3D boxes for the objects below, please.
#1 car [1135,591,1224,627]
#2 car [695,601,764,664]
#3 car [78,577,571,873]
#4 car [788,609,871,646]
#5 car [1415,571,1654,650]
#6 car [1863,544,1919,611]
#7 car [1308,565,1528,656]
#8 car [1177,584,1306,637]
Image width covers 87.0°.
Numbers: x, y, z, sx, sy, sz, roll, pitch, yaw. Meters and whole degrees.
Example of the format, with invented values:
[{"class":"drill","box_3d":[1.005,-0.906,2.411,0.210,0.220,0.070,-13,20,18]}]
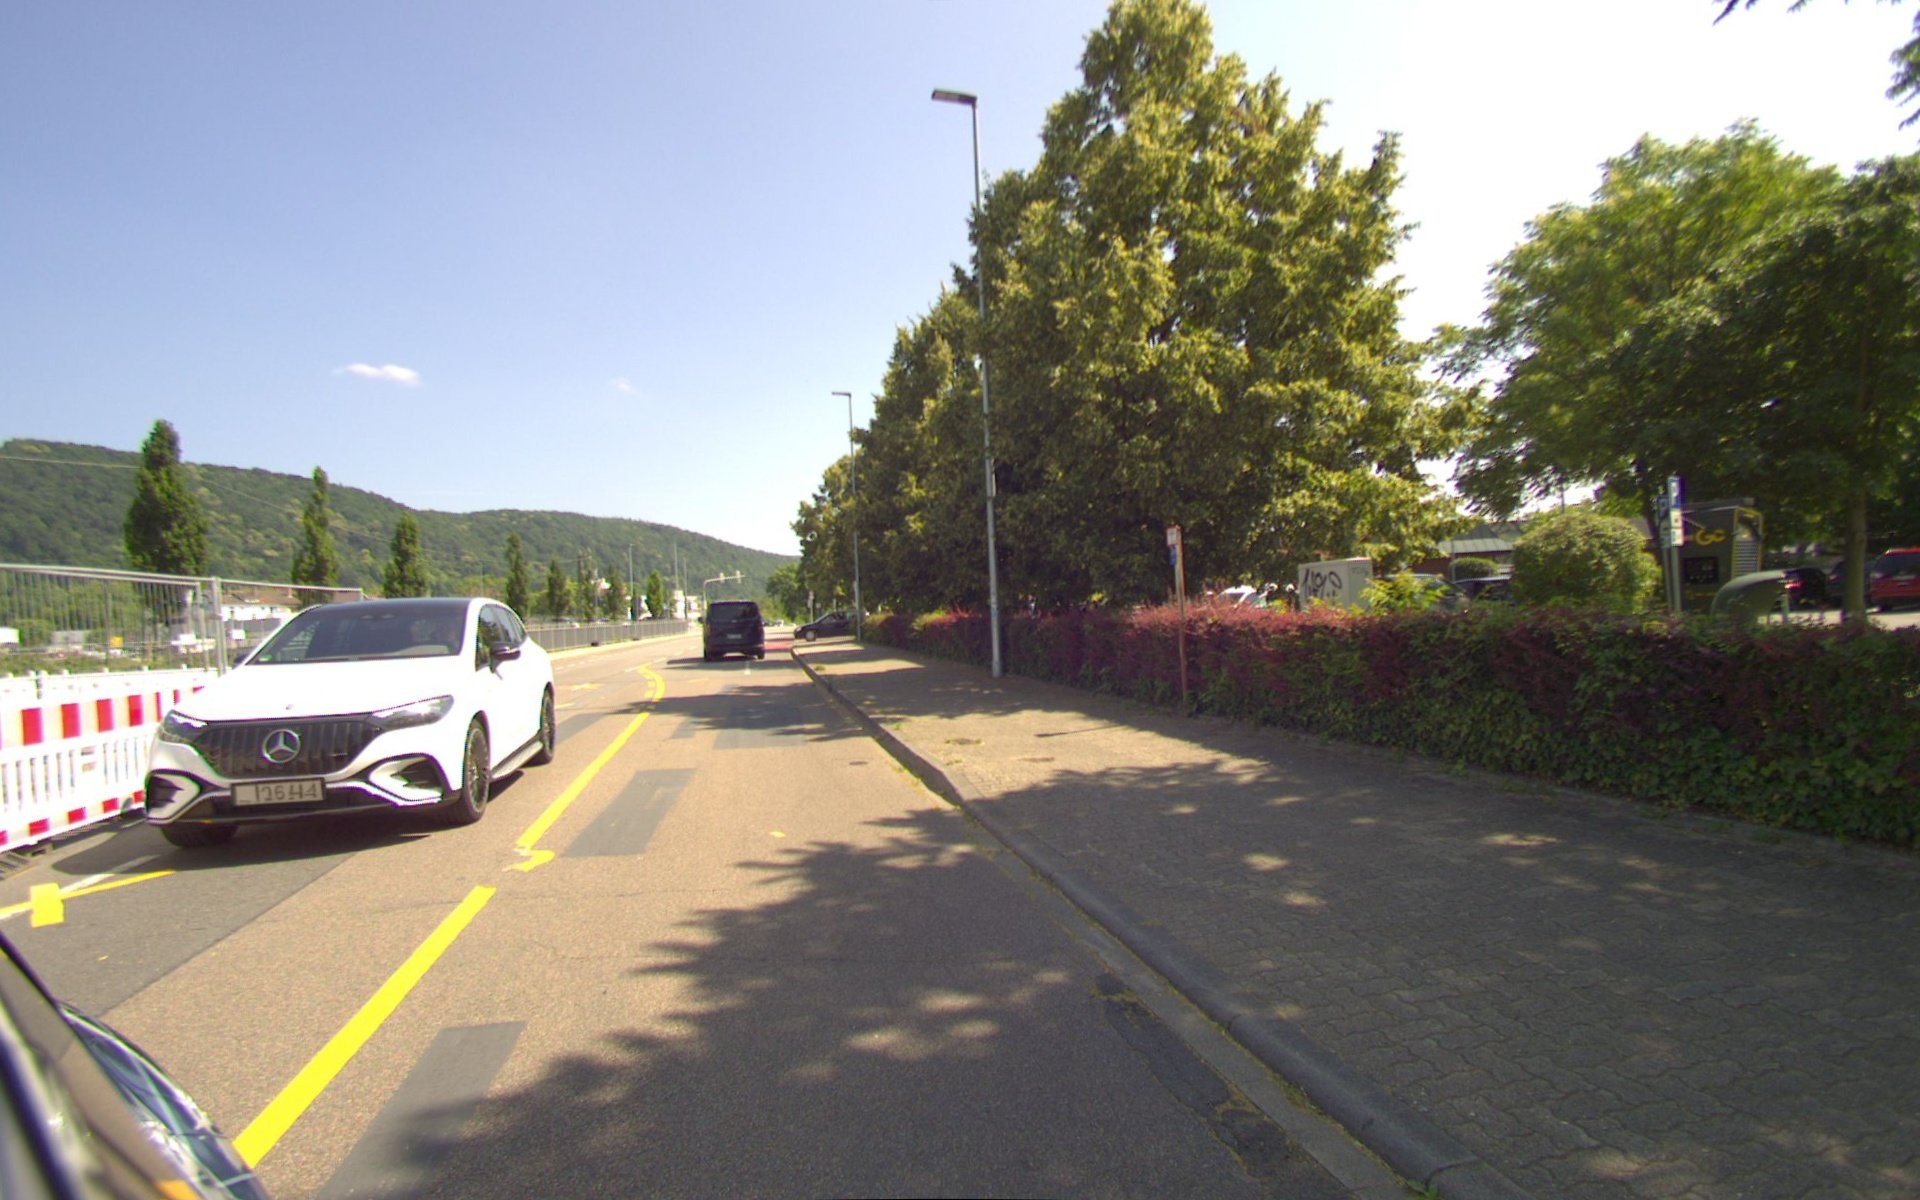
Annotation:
[{"class":"car","box_3d":[10.386,0.449,48.163,1.888,1.563,4.155,-3,-1,-28]},{"class":"car","box_3d":[-7.828,1.040,34.751,2.148,1.983,5.457,0,-1,-11]},{"class":"car","box_3d":[-4.757,0.781,8.608,1.967,1.657,5.044,-3,-1,-13]},{"class":"car","box_3d":[-6.510,1.338,50.687,3.938,1.475,1.884,-5,0,-7]},{"class":"car","box_3d":[11.915,0.233,21.384,1.831,1.464,4.379,-1,-1,-14]},{"class":"car","box_3d":[27.685,-0.735,28.693,3.932,1.747,1.779,-4,-3,-29]},{"class":"car","box_3d":[9.431,0.238,21.296,1.831,1.698,4.379,-1,-1,-14]},{"class":"car","box_3d":[10.103,0.360,36.288,4.238,1.698,1.868,-2,-1,-28]}]
